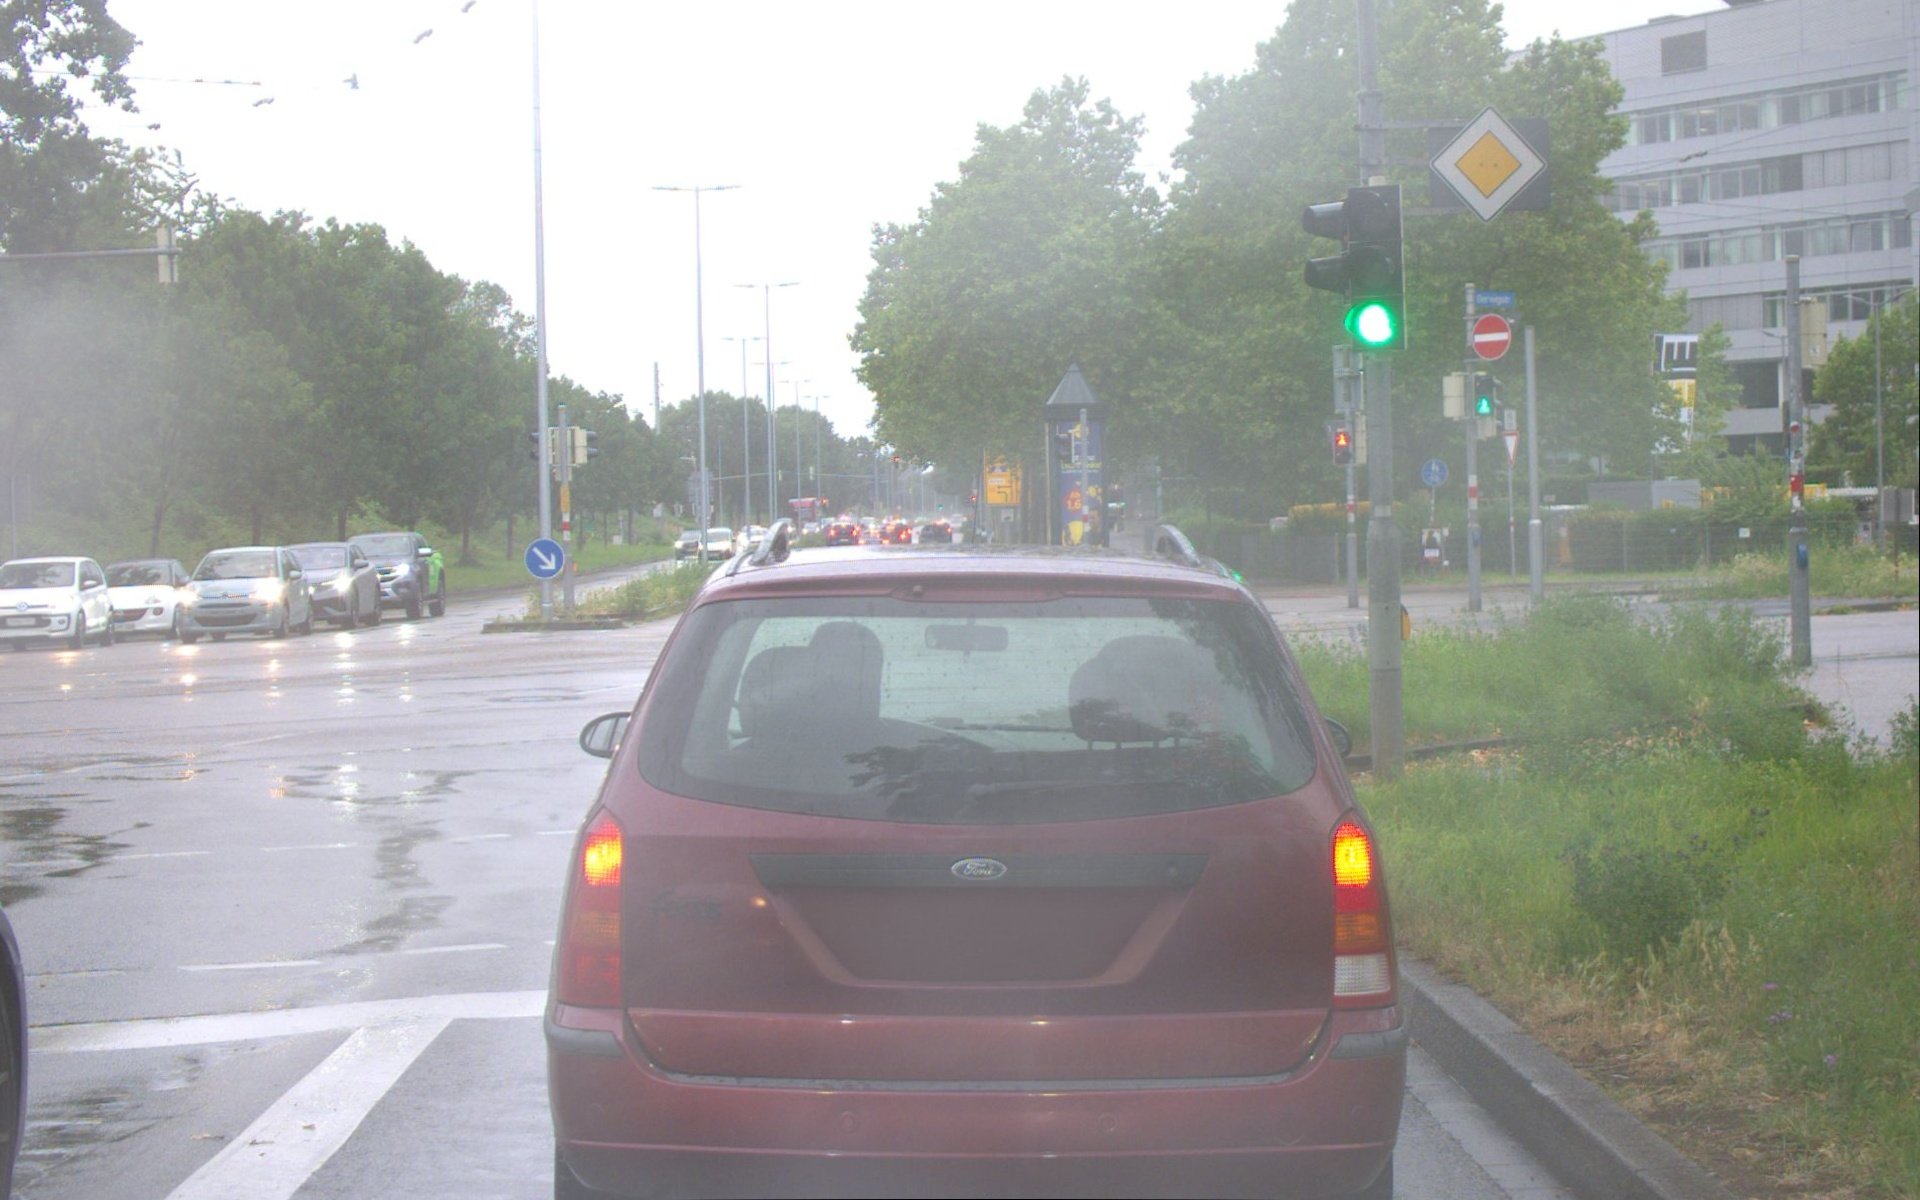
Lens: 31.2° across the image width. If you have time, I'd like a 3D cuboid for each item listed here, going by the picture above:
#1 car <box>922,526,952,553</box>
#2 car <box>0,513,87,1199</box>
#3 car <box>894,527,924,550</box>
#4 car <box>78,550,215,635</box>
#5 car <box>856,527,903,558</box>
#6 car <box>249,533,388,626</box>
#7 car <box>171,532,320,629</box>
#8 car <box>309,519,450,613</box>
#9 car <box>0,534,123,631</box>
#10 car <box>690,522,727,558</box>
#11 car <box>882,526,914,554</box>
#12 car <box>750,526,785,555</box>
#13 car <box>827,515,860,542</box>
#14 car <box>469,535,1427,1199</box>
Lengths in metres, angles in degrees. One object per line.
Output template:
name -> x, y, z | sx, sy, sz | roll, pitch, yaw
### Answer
car -> -1.322, -3.512, 199.757 | 1.671, 1.522, 3.846 | -1, 1, 1
car -> -2.690, 0.645, 4.908 | 1.769, 1.568, 4.822 | 1, 1, -2
car -> -3.428, -4.122, 230.491 | 1.671, 1.522, 3.845 | -1, 1, 4
car -> -14.507, -0.155, 61.452 | 1.590, 1.399, 3.823 | -2, 1, -2
car -> -4.088, -2.951, 175.482 | 2.147, 1.522, 4.192 | -1, 1, 2
car -> -11.739, -0.389, 63.183 | 1.762, 1.580, 4.814 | -2, 1, -2
car -> -11.631, -0.348, 56.166 | 1.638, 1.468, 3.965 | -2, 1, -1
car -> -11.995, -0.736, 71.361 | 2.065, 1.813, 5.542 | -2, 1, -2
car -> -14.631, -0.295, 55.062 | 1.638, 1.447, 3.788 | -2, 1, -3
car -> -12.566, -2.996, 171.924 | 1.743, 1.696, 4.285 | -3, 1, -4
car -> -3.492, -3.405, 194.091 | 1.698, 1.522, 3.846 | -1, 1, 1
car -> -11.969, -3.701, 214.206 | 1.963, 1.696, 4.284 | -2, 1, -1
car -> -6.857, -4.192, 202.446 | 1.698, 1.522, 3.846 | -1, 1, 1
car -> -0.072, 0.602, 7.819 | 1.642, 1.460, 3.733 | 1, 1, -2
